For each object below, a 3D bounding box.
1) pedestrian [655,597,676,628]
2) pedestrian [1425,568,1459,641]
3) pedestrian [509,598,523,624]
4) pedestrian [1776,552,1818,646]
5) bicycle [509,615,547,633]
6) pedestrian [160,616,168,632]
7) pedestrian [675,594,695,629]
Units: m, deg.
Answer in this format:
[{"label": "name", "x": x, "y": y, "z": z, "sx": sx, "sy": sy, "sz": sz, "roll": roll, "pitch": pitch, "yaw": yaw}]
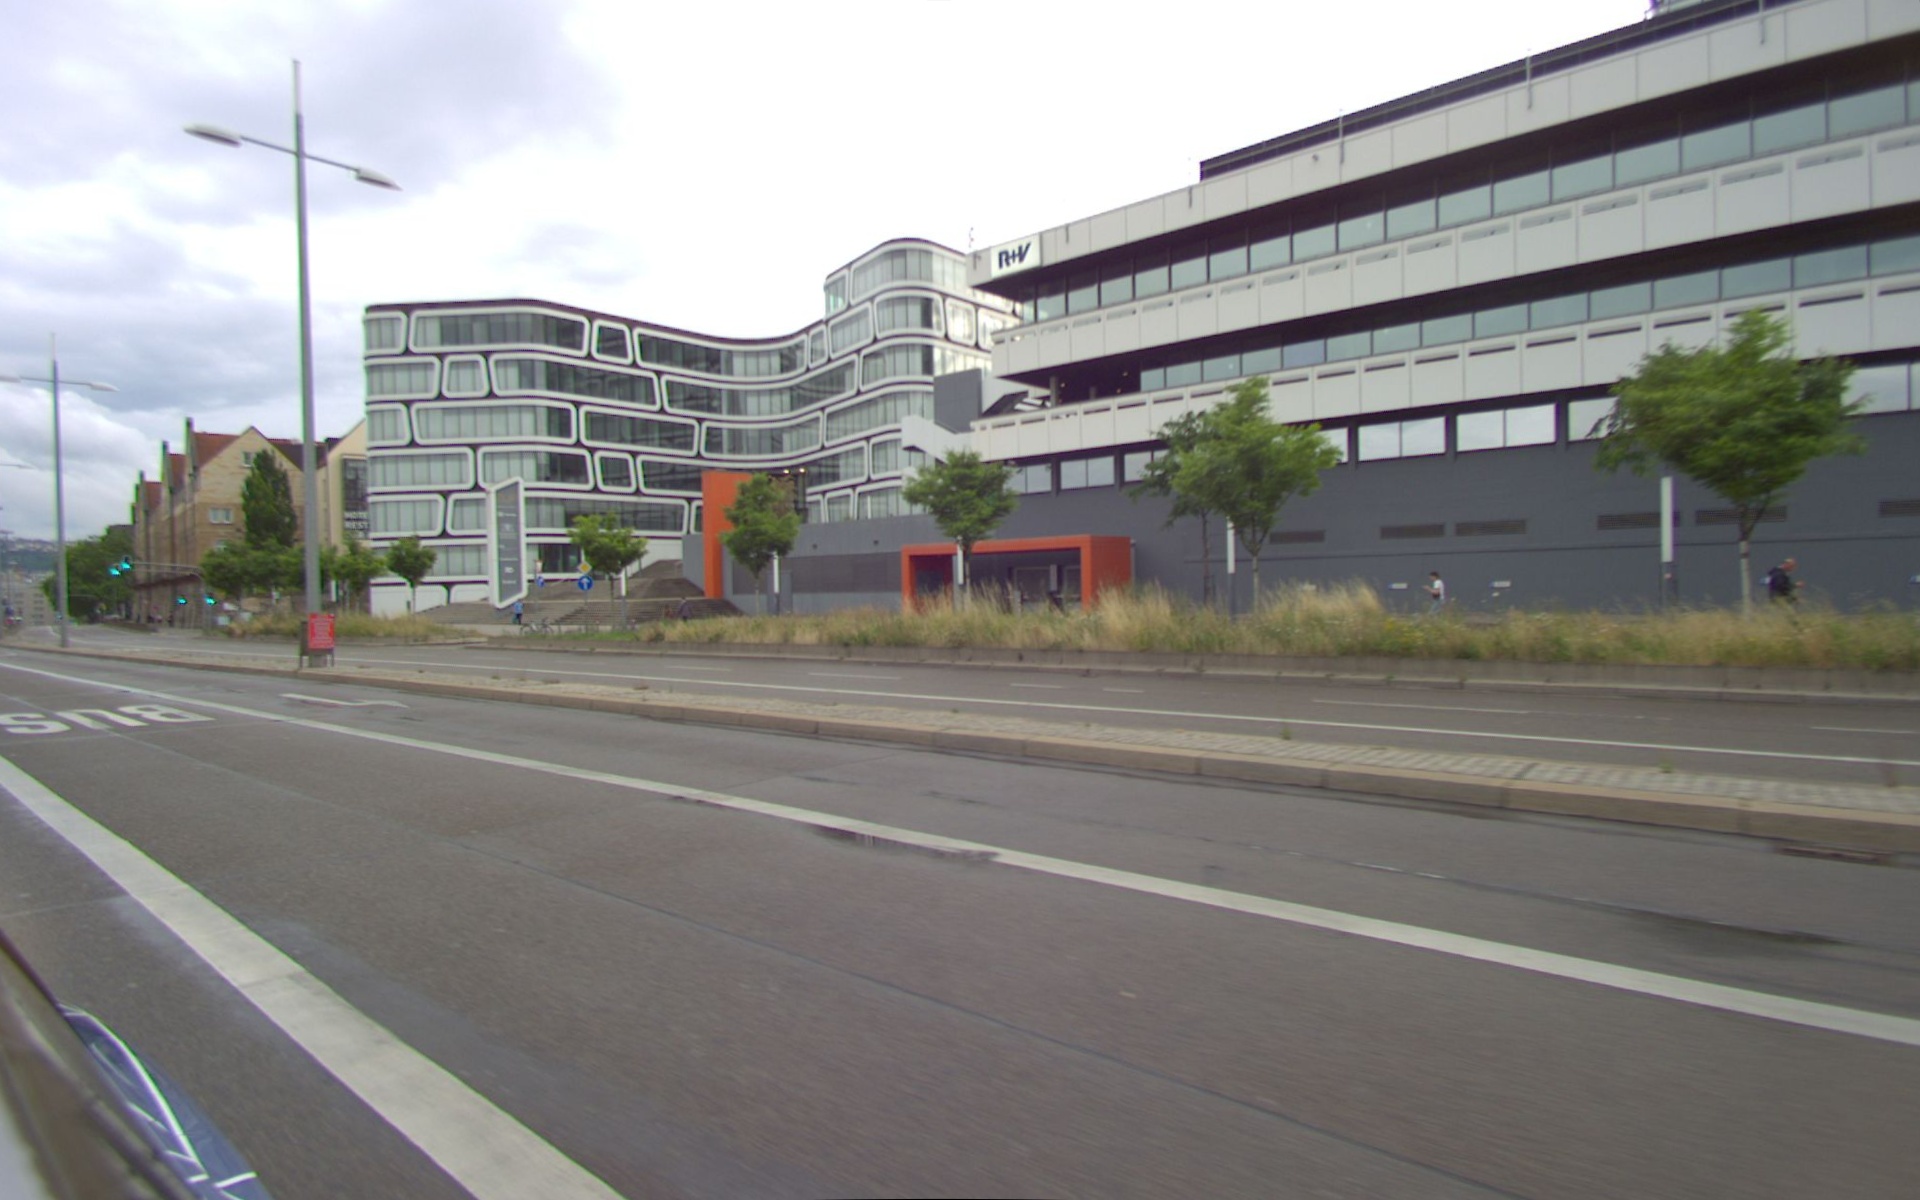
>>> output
[{"label": "pedestrian", "x": -13.967, "y": 0.581, "z": 47.982, "sx": 0.798, "sy": 1.457, "sz": 0.611, "roll": 0, "pitch": 0, "yaw": 42}, {"label": "pedestrian", "x": 12.316, "y": 0.111, "z": 25.856, "sx": 0.628, "sy": 1.821, "sz": 0.623, "roll": 0, "pitch": 0, "yaw": 41}, {"label": "pedestrian", "x": -28.087, "y": 0.679, "z": 64.034, "sx": 0.640, "sy": 1.623, "sz": 0.604, "roll": 0, "pitch": 1, "yaw": 44}, {"label": "pedestrian", "x": 16.752, "y": -0.025, "z": 20.249, "sx": 0.628, "sy": 1.821, "sz": 0.776, "roll": 0, "pitch": 0, "yaw": 41}, {"label": "bicycle", "x": -21.279, "y": 1.185, "z": 49.851, "sx": 1.638, "sy": 0.864, "sz": 0.608, "roll": 0, "pitch": 0, "yaw": 8}, {"label": "pedestrian", "x": -89.461, "y": 2.715, "z": 113.710, "sx": 0.668, "sy": 1.792, "sz": 0.684, "roll": -1, "pitch": 0, "yaw": -43}, {"label": "pedestrian", "x": -13.217, "y": 0.544, "z": 48.655, "sx": 0.798, "sy": 1.670, "sz": 0.611, "roll": 0, "pitch": 0, "yaw": 42}]
